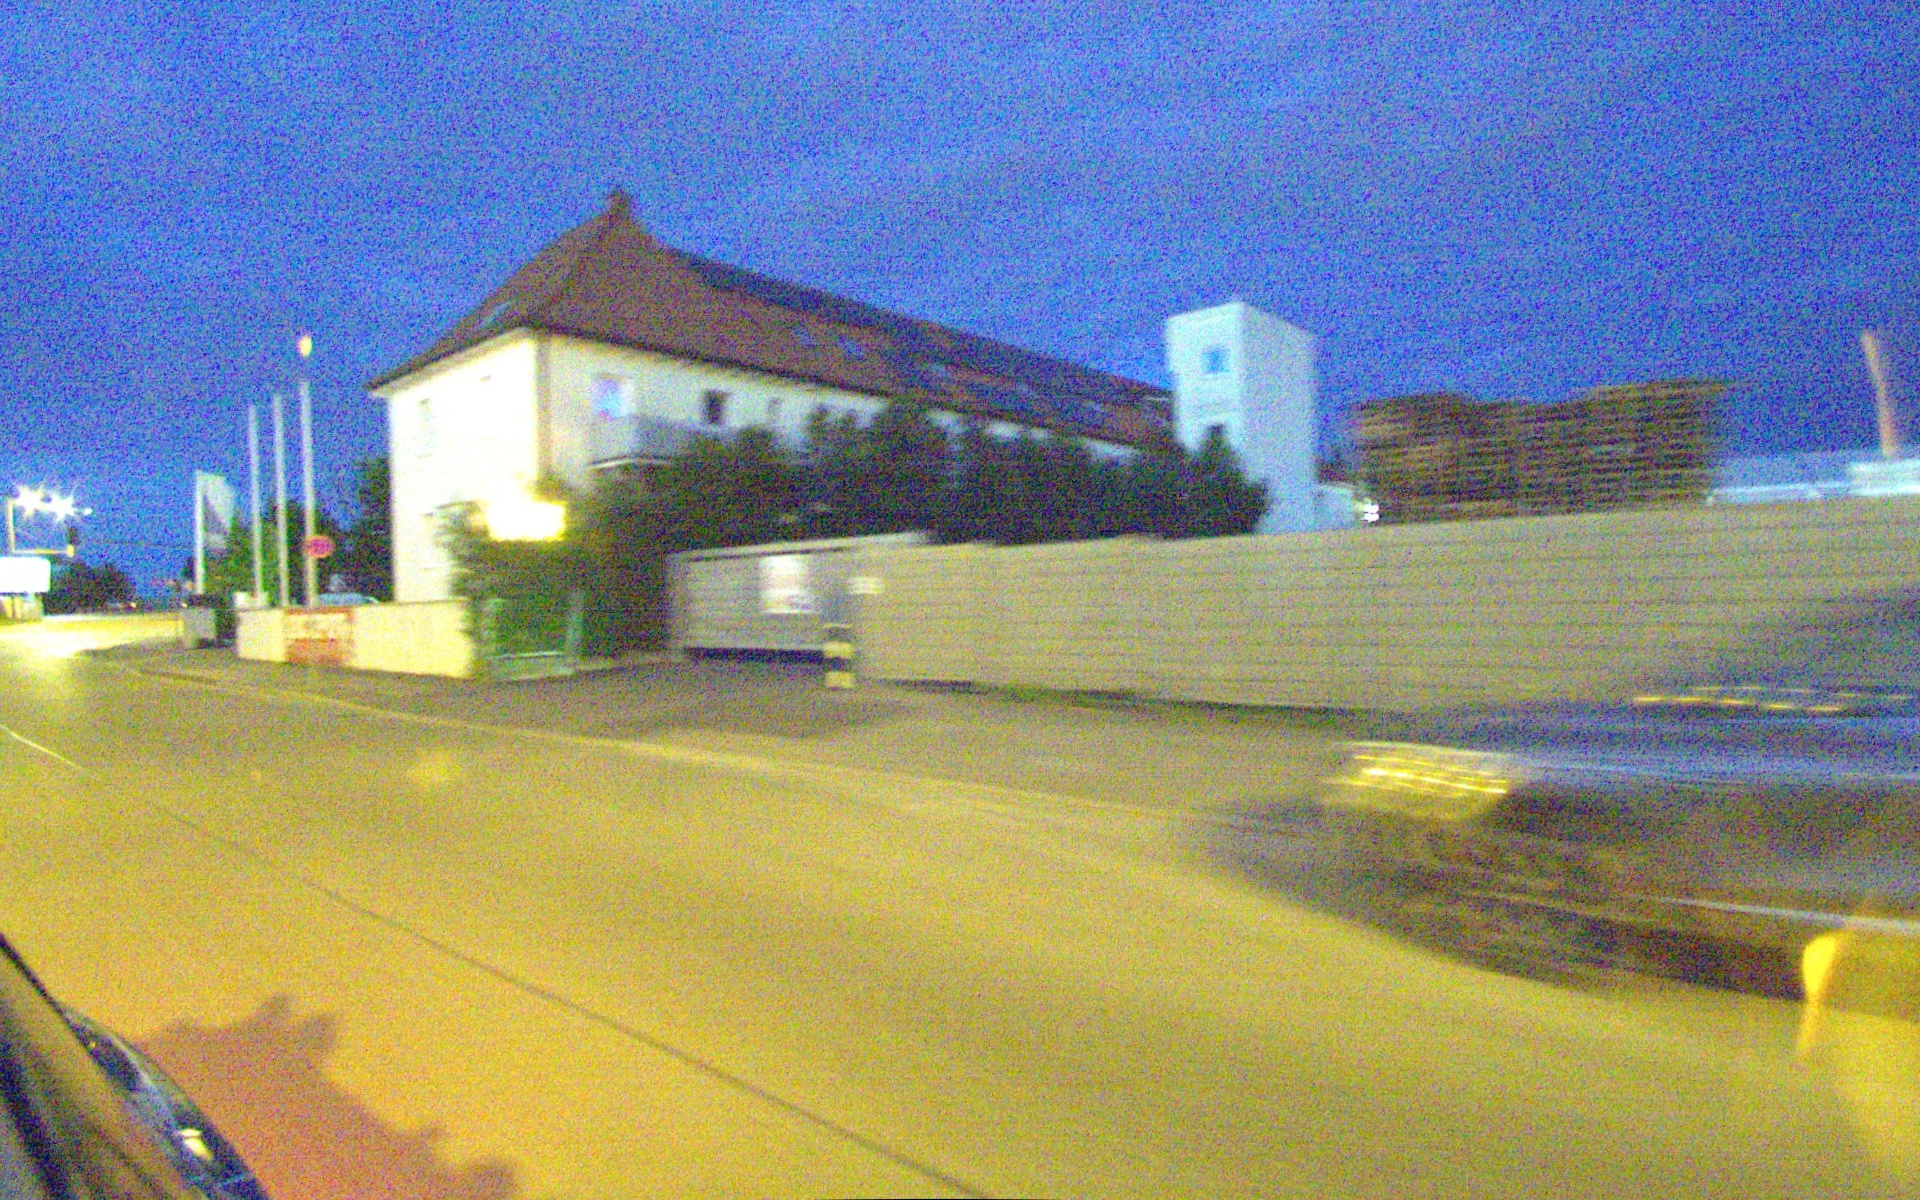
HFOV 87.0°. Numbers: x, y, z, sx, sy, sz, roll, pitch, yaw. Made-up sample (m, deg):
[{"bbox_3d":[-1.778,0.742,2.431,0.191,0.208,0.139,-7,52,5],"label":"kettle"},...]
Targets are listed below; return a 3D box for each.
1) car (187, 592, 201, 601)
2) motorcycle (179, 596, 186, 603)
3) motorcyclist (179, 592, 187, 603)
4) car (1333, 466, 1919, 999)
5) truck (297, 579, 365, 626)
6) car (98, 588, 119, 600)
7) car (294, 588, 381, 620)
[{"bbox_3d":[-154.844,-0.698,204.580,1.966,1.639,4.765,-1,1,-34],"label":"car"},{"bbox_3d":[-142.728,-0.084,185.824,0.984,1.314,2.832,-1,1,-39],"label":"motorcycle"},{"bbox_3d":[-142.708,-0.491,185.822,1.119,1.914,0.835,-1,1,-39],"label":"motorcyclist"},{"bbox_3d":[4.037,0.387,3.517,4.769,1.648,1.974,0,1,40],"label":"car"},{"bbox_3d":[-27.574,0.098,44.296,1.968,1.914,5.328,-2,1,-38],"label":"truck"},{"bbox_3d":[-113.251,-0.771,134.633,1.910,1.563,4.008,-2,1,-38],"label":"car"},{"bbox_3d":[-36.834,0.195,59.895,4.076,1.785,2.003,-1,1,-42],"label":"car"}]
